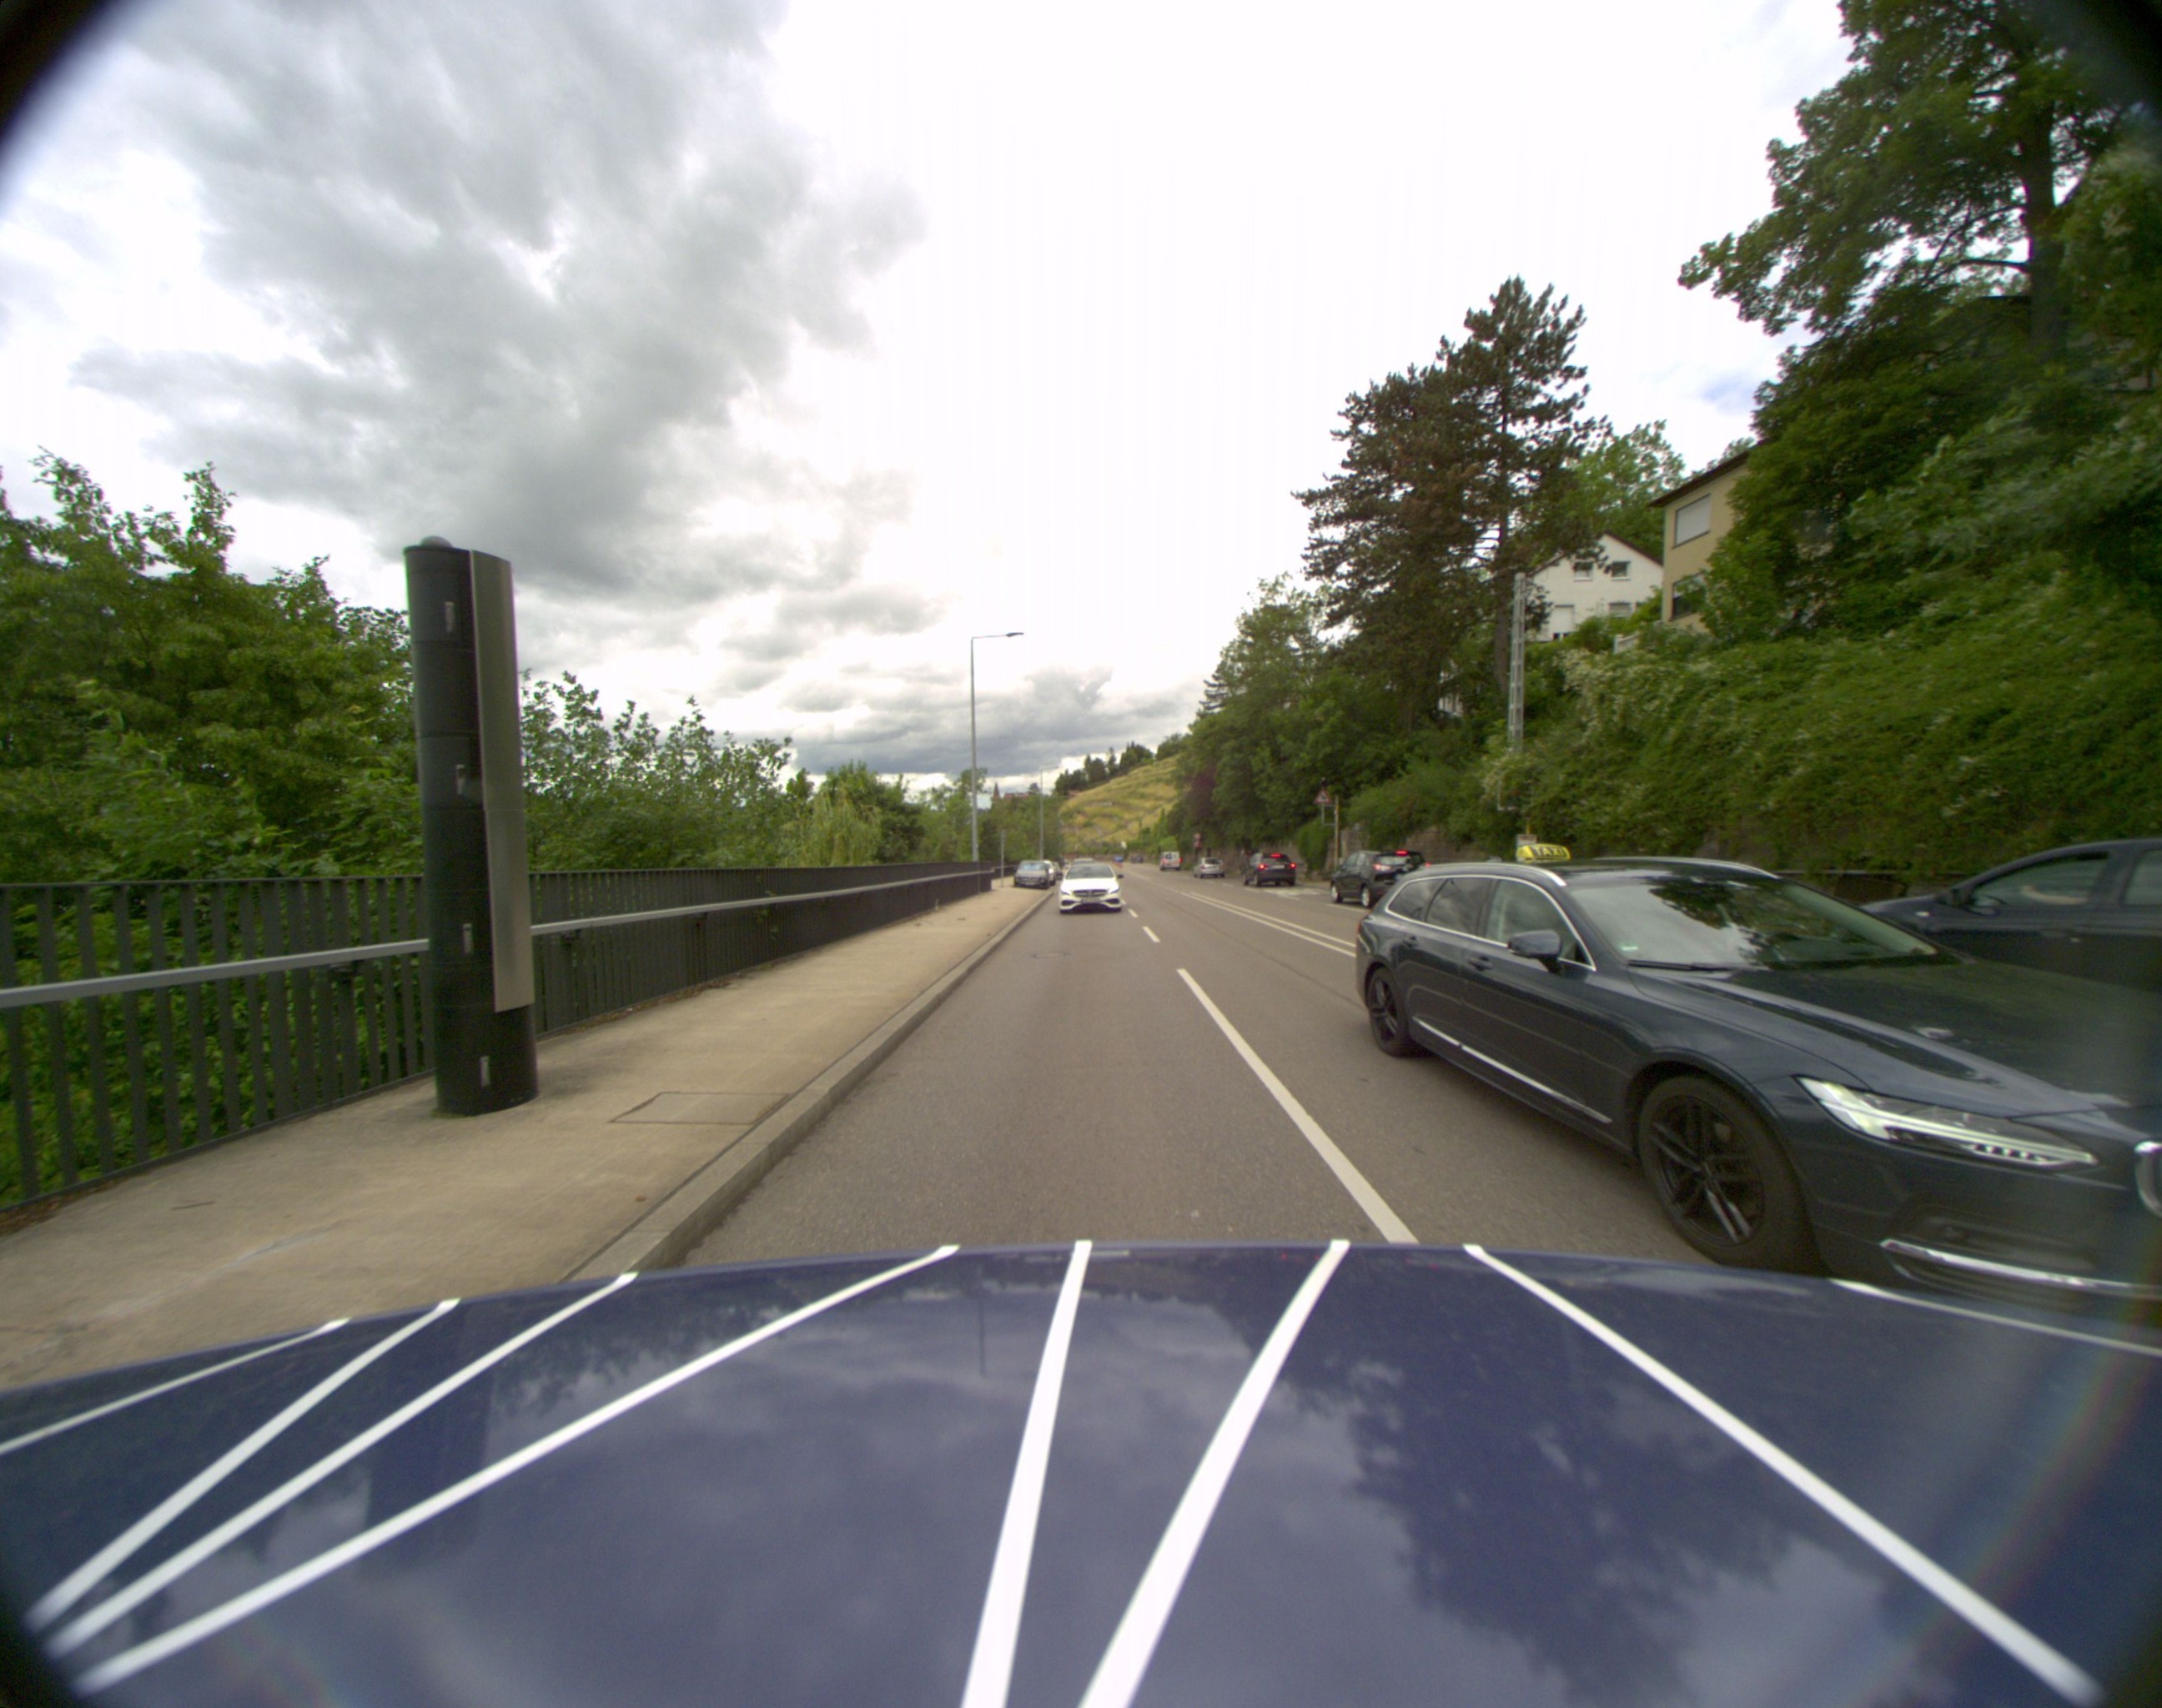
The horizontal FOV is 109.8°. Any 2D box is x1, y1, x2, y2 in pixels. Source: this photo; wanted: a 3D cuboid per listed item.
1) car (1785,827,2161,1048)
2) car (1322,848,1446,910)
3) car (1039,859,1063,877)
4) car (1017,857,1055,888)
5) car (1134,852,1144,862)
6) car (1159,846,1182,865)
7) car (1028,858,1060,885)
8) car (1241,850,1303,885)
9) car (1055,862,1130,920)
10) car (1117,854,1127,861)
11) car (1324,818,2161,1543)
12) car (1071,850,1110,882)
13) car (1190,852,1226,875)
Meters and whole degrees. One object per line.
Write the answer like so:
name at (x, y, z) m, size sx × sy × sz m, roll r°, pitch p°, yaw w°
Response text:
car at (8.148, 0.542, 5.675) m, size 1.817 × 1.425 × 4.248 m, roll -3°, pitch 0°, yaw 0°
car at (8.378, 0.646, 21.421) m, size 1.786 × 1.473 × 4.212 m, roll -3°, pitch 0°, yaw 1°
car at (-2.464, 1.107, 62.458) m, size 1.828 × 1.393 × 4.319 m, roll 1°, pitch 0°, yaw -1°
car at (-2.414, 0.978, 41.604) m, size 1.761 × 1.535 × 4.427 m, roll 2°, pitch 0°, yaw 0°
car at (10.748, 0.503, 140.697) m, size 1.819 × 1.687 × 4.471 m, roll -2°, pitch 0°, yaw 5°
car at (9.524, 0.164, 81.058) m, size 1.926 × 1.993 × 5.356 m, roll -2°, pitch 0°, yaw 1°
car at (-2.304, 1.088, 47.940) m, size 1.731 × 1.559 × 4.624 m, roll 0°, pitch 0°, yaw 0°
car at (9.054, 0.598, 36.436) m, size 1.946 × 1.540 × 4.248 m, roll -1°, pitch 0°, yaw 1°
car at (0.366, 1.016, 22.139) m, size 1.903 × 1.418 × 4.267 m, roll -3°, pitch -1°, yaw 2°
car at (8.596, 0.796, 158.847) m, size 1.588 × 1.453 × 3.522 m, roll -2°, pitch 0°, yaw -5°
car at (3.097, 0.700, 4.182) m, size 1.939 × 1.567 × 5.027 m, roll -3°, pitch 0°, yaw 1°
car at (0.558, 0.632, 42.772) m, size 1.998 × 1.580 × 4.000 m, roll -3°, pitch 0°, yaw 1°
car at (8.743, 0.687, 52.639) m, size 1.680 × 1.433 × 4.233 m, roll -3°, pitch -1°, yaw 0°
